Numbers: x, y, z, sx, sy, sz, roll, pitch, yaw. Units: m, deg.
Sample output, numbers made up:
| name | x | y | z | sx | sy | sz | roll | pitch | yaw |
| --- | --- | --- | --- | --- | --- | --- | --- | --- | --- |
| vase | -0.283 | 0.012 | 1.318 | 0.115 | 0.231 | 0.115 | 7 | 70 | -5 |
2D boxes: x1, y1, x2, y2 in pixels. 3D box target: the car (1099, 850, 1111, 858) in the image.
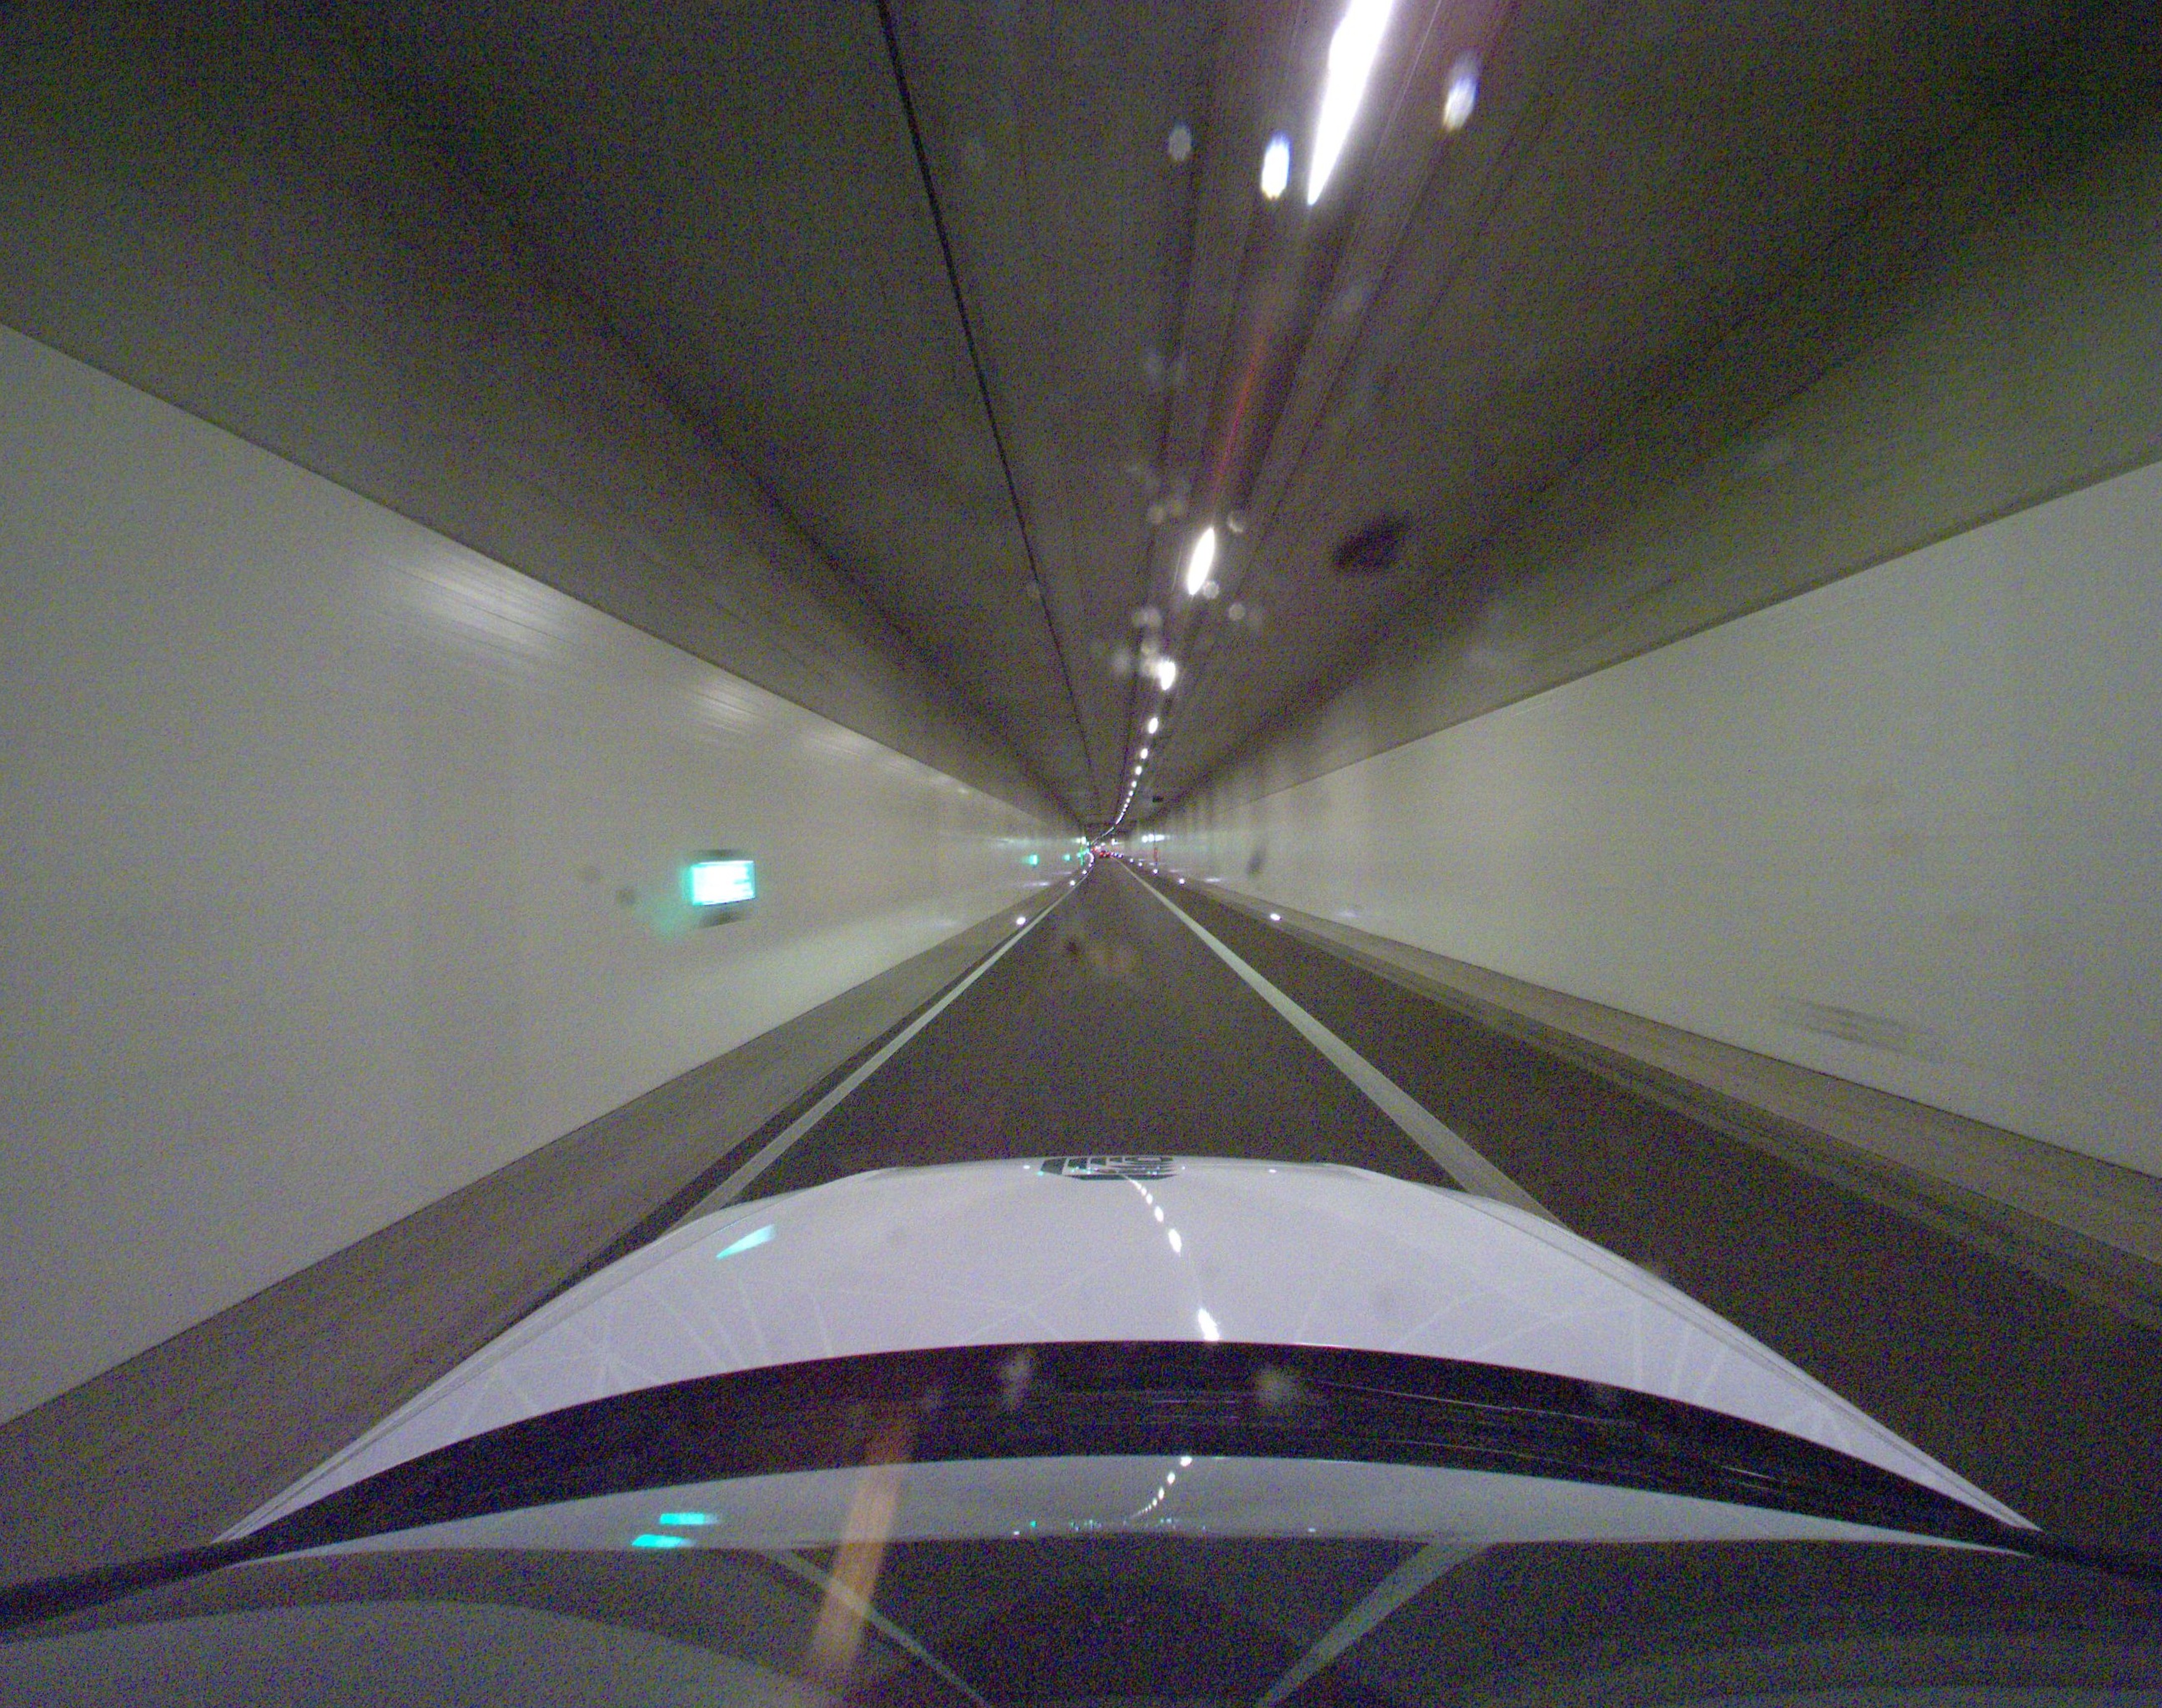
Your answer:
| name | x | y | z | sx | sy | sz | roll | pitch | yaw |
| --- | --- | --- | --- | --- | --- | --- | --- | --- | --- |
| car | 4.297 | -0.039 | 146.056 | 1.987 | 1.420 | 3.999 | 1 | 0 | 0 |
